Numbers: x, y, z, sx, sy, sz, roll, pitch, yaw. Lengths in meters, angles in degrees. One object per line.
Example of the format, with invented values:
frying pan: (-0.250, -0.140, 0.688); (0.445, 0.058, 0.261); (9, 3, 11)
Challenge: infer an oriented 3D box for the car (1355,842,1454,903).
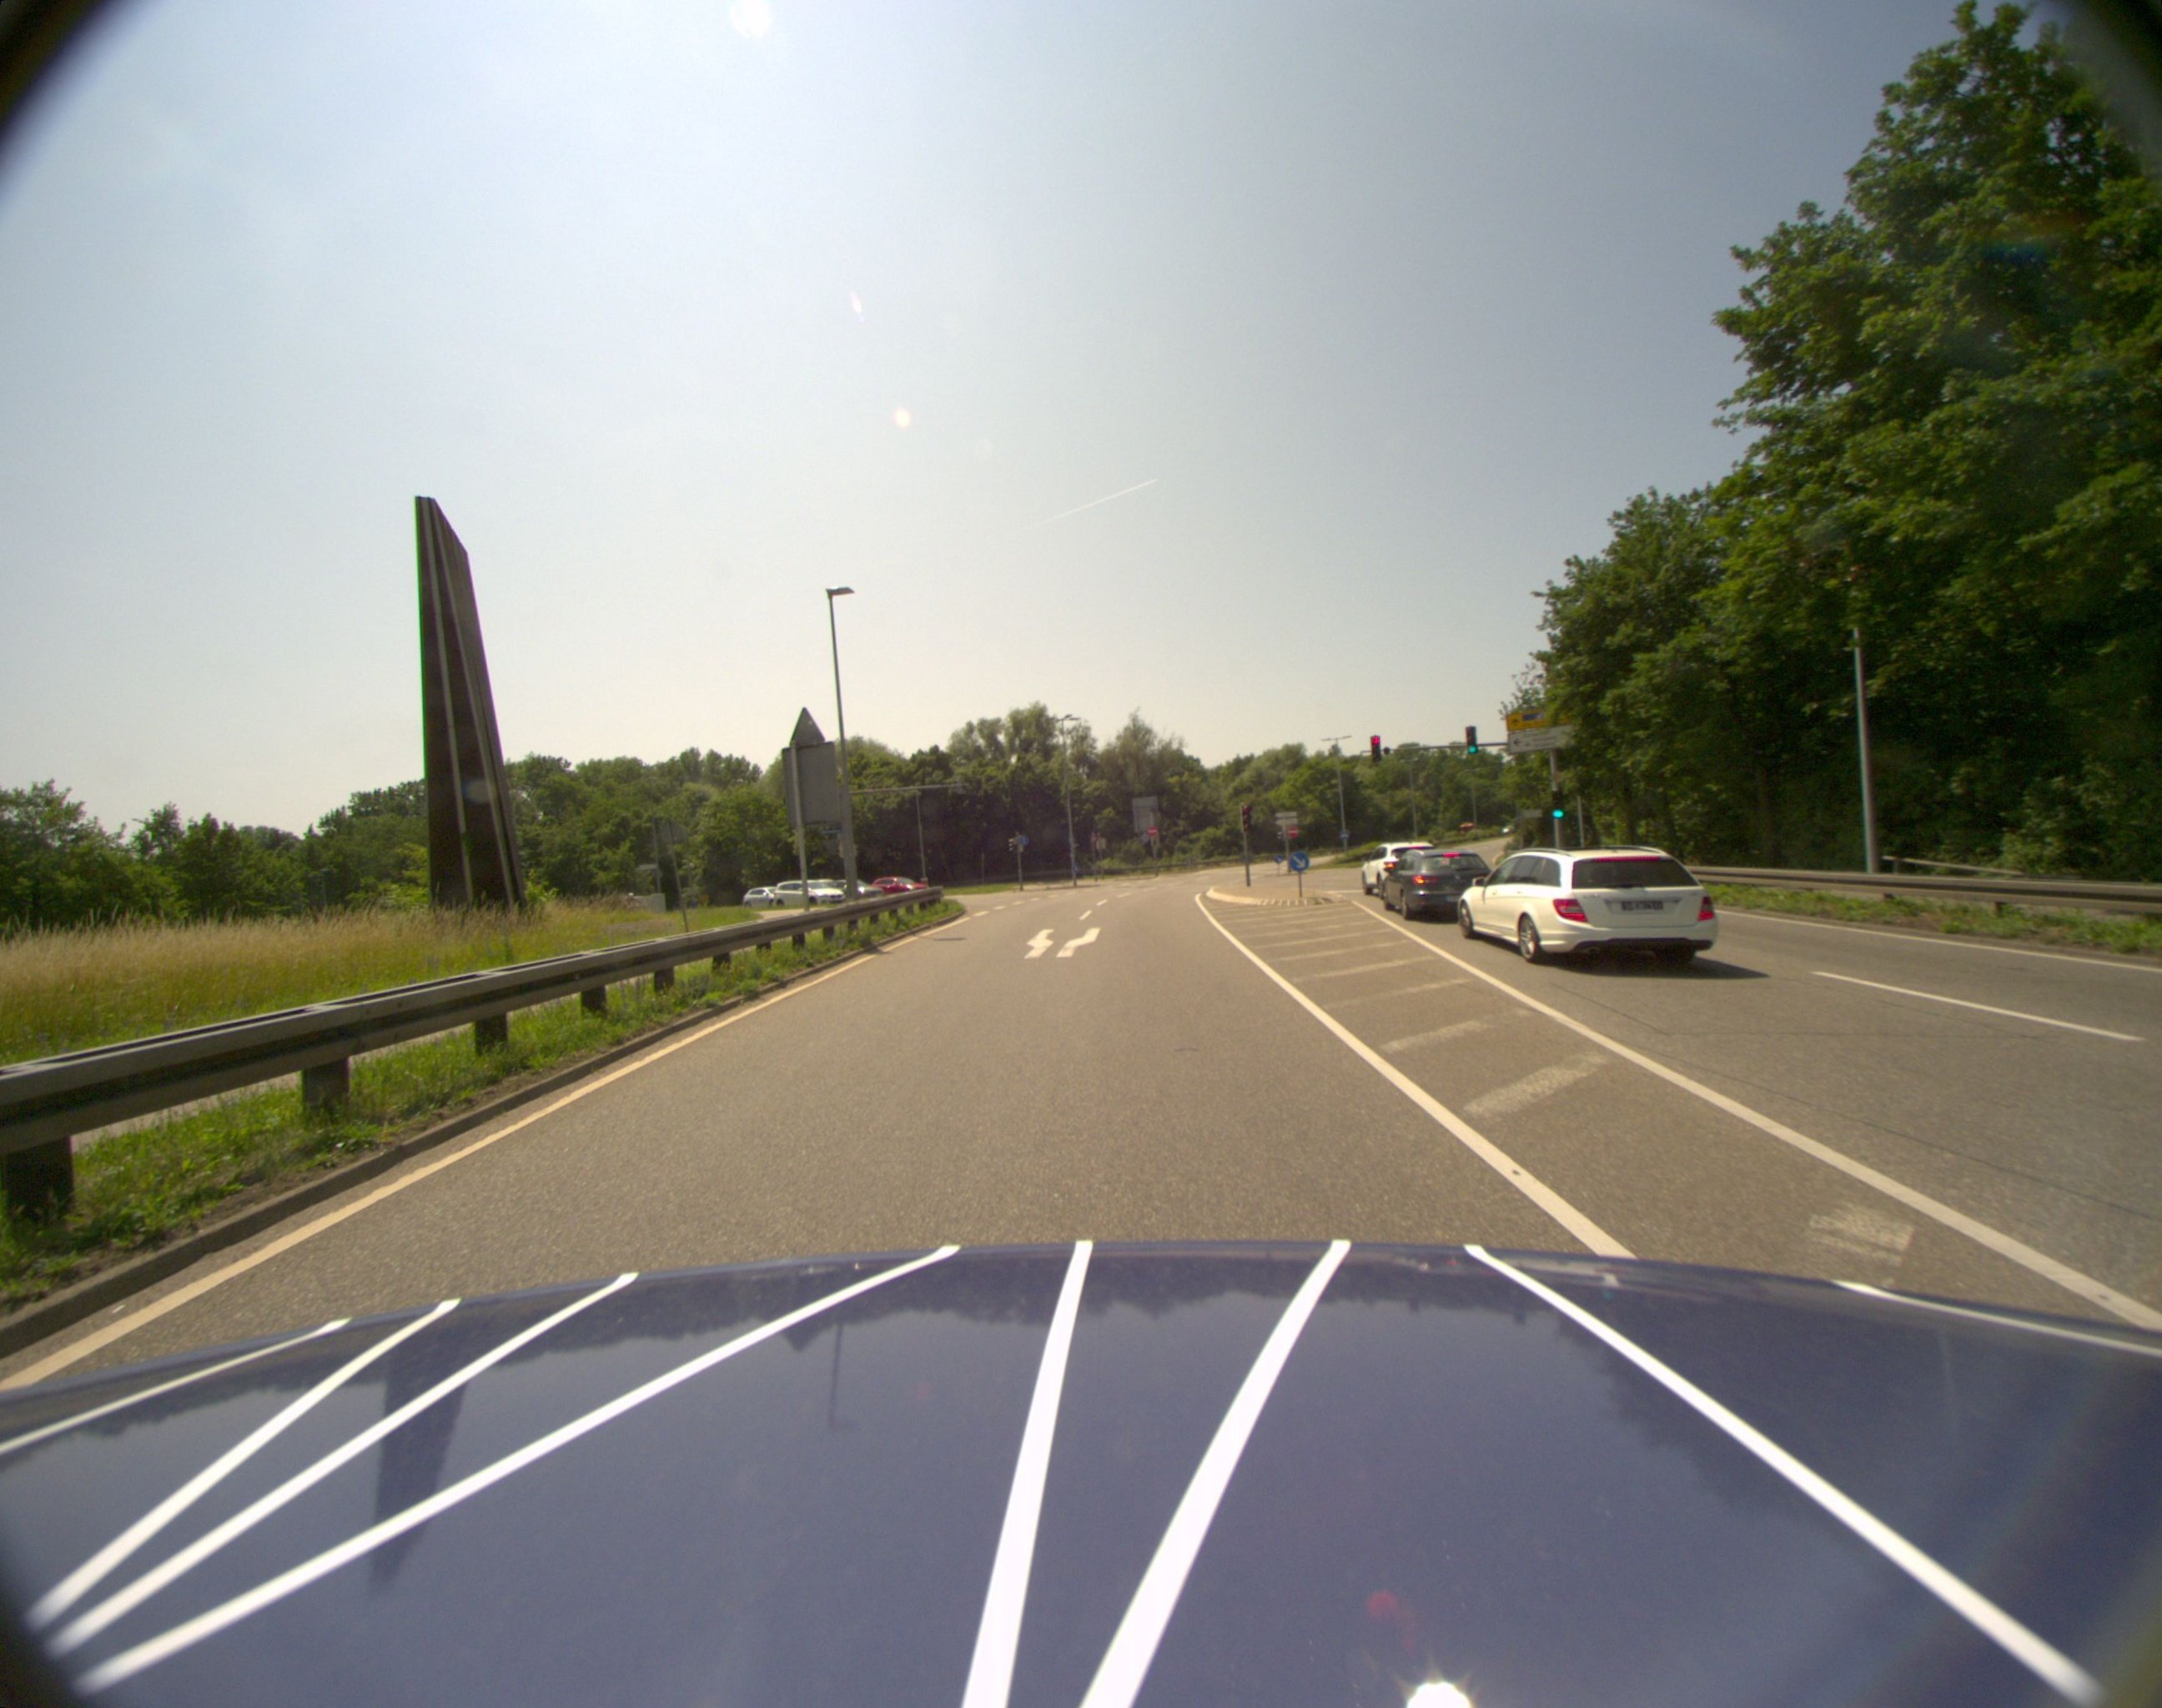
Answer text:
car: (9.756, 0.492, 23.266); (1.831, 1.629, 4.582); (-2, 0, 11)

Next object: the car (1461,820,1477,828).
car: (74.830, -5.815, 146.618); (1.842, 1.422, 3.584); (-4, 0, 41)

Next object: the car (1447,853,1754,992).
car: (6.625, 0.727, 10.453); (1.830, 1.398, 4.892); (-1, 0, 13)

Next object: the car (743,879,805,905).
car: (-19.532, 2.411, 48.311); (3.990, 1.422, 1.585); (-4, 0, 33)

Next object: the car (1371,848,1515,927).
car: (7.633, 0.627, 16.505); (1.830, 1.398, 4.551); (-3, 0, 13)

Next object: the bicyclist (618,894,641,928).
bicyclist: (-22.436, 2.831, 37.785); (0.690, 1.589, 0.672); (-3, 1, 37)

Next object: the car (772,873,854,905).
car: (-14.523, 1.908, 41.128); (4.286, 1.497, 1.871); (-4, 0, 33)

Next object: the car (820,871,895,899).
car: (-13.186, 1.822, 44.774); (4.176, 1.415, 1.871); (-4, 0, 33)

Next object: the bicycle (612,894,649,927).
bicycle: (-22.348, 2.801, 37.701); (2.368, 1.565, 0.658); (-4, 0, 38)

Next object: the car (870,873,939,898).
car: (-11.041, 1.980, 47.448); (4.176, 1.346, 1.758); (-4, 0, 33)
